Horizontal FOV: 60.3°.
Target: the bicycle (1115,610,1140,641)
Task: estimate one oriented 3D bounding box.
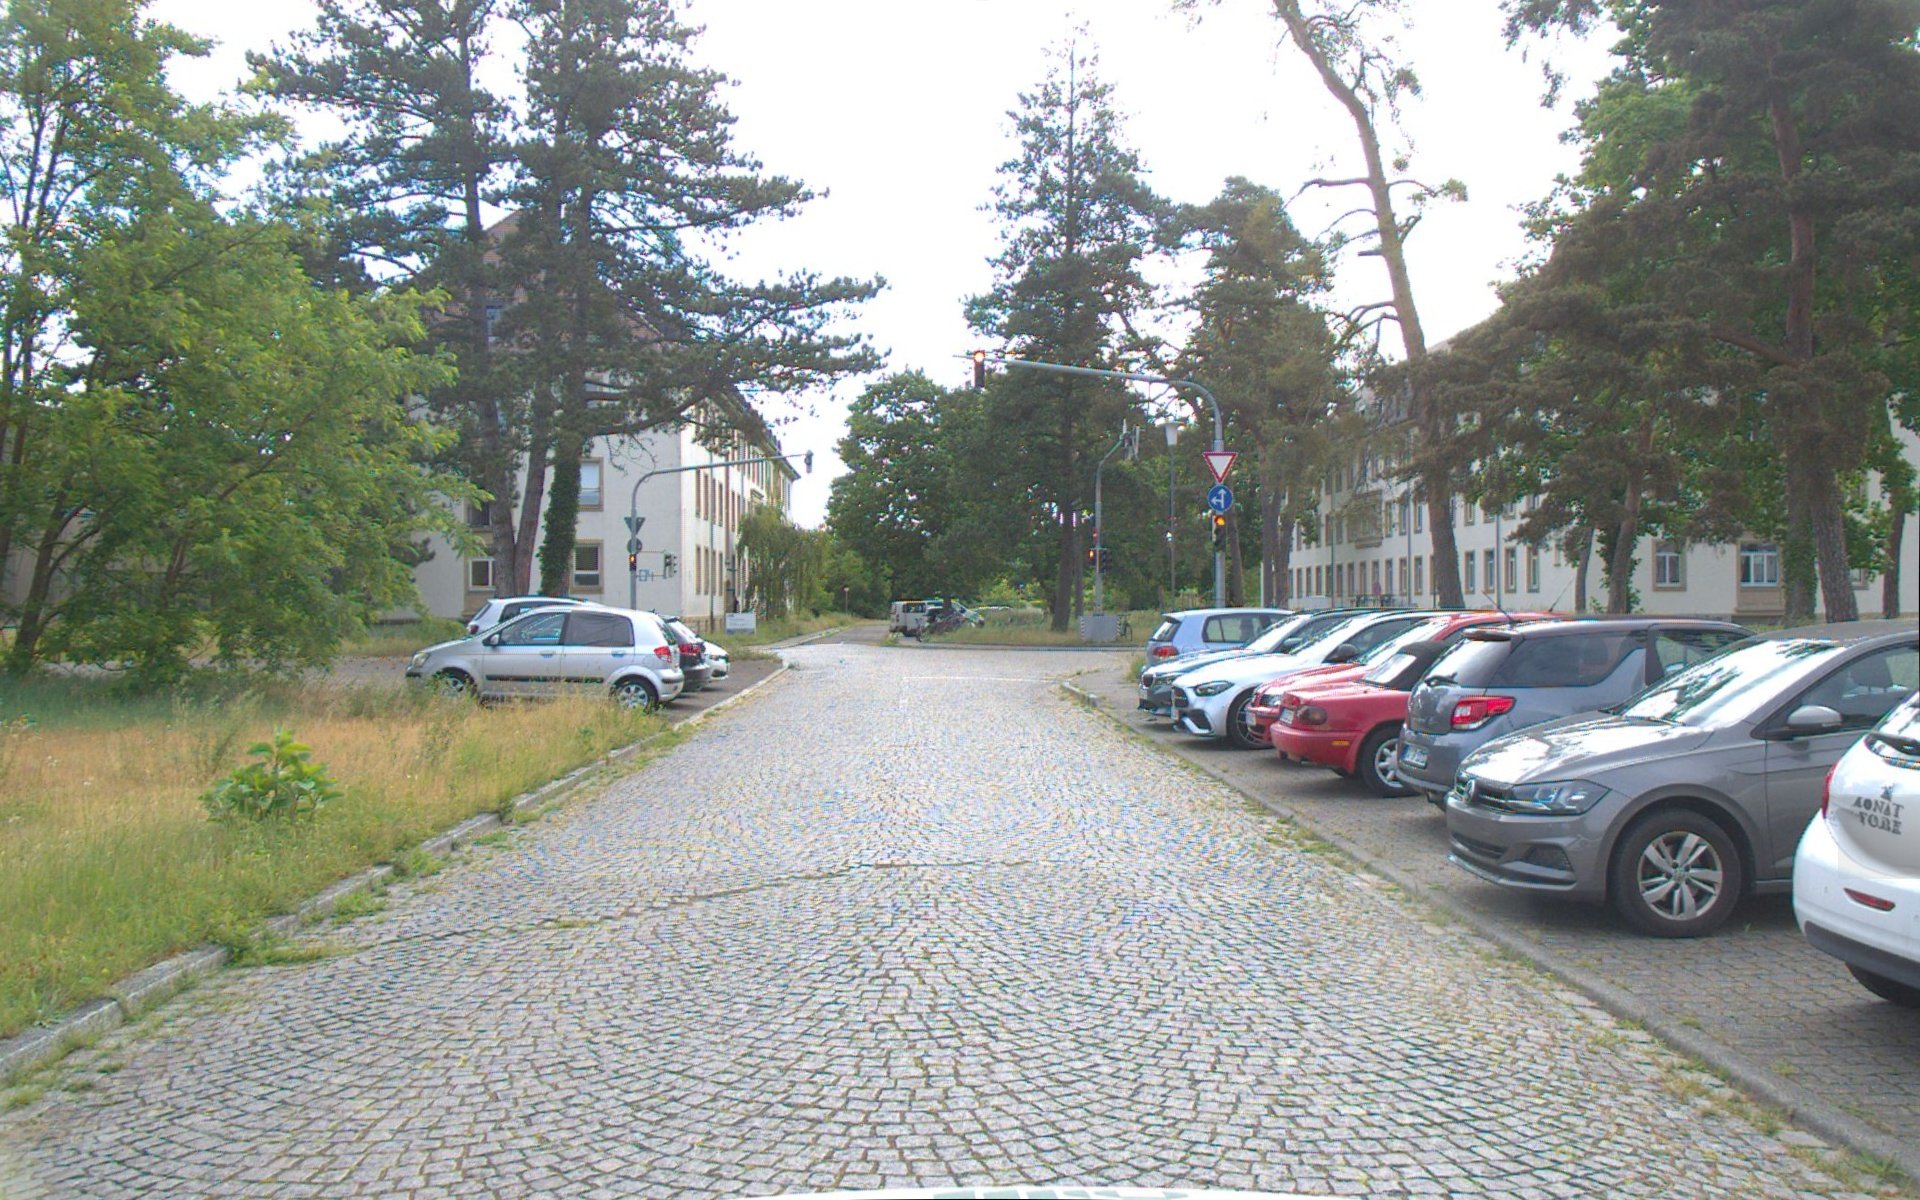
[{"bbox_3d":[6.188,0.934,61.182,0.649,1.069,1.887,1,0,-1],"label":"bicycle"}]

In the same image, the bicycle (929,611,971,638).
[{"bbox_3d":[-0.446,1.136,76.213,1.846,1.191,0.664,1,-1,-8],"label":"bicycle"}]

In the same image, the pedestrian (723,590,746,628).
[{"bbox_3d":[-12.016,0.491,88.311,1.052,1.993,1.121,1,-1,-2],"label":"pedestrian"}]

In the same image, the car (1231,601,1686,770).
[{"bbox_3d":[4.903,0.811,16.594,4.024,1.502,1.683,-1,0,-4],"label":"car"}]

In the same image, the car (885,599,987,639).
[{"bbox_3d":[-1.326,1.013,90.991,5.285,2.138,2.170,0,0,-14],"label":"car"}]

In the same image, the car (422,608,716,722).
[{"bbox_3d":[-5.941,0.960,25.550,4.217,1.581,1.809,-1,0,-8],"label":"car"}]

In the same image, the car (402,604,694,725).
[{"bbox_3d":[-5.637,0.874,22.965,3.648,1.507,1.671,2,0,-5],"label":"car"}]

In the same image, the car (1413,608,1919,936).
[{"bbox_3d":[4.674,0.803,8.748,4.047,1.472,1.765,-1,0,-2],"label":"car"}]

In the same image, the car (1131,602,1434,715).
[{"bbox_3d":[4.679,0.827,24.270,4.057,1.489,1.631,-1,0,-7],"label":"car"}]

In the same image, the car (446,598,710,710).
[{"bbox_3d":[-6.453,0.895,28.338,4.216,1.762,1.650,-1,0,-7],"label":"car"}]

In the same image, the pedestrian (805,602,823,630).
[{"bbox_3d":[-10.631,1.185,120.147,1.216,1.993,1.119,1,-1,-7],"label":"pedestrian"}]

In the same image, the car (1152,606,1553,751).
[{"bbox_3d":[4.428,0.843,18.939,4.108,1.462,1.751,-1,0,-9],"label":"car"}]

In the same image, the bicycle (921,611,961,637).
[{"bbox_3d":[-0.908,1.150,78.742,1.846,1.191,0.664,1,-1,-8],"label":"bicycle"}]

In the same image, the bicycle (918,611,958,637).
[{"bbox_3d":[-1.050,1.155,79.689,1.846,1.191,0.664,1,-1,-8],"label":"bicycle"}]

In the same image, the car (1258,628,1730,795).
[{"bbox_3d":[4.484,0.917,14.235,3.513,1.244,1.628,-1,0,-1],"label":"car"}]

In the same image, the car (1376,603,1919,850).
[{"bbox_3d":[4.883,0.819,11.623,3.435,1.513,1.742,-1,0,-2],"label":"car"}]

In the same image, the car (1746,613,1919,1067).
[{"bbox_3d":[4.996,0.779,5.854,3.580,1.504,1.765,-1,0,-2],"label":"car"}]

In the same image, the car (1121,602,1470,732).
[{"bbox_3d":[4.361,0.830,21.704,4.155,1.505,1.704,-1,0,-13],"label":"car"}]

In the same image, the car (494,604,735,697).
[{"bbox_3d":[-6.344,0.908,30.797,4.217,1.581,1.809,-1,0,-8],"label":"car"}]

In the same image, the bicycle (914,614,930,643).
[{"bbox_3d":[-1.638,1.221,71.534,0.649,1.191,1.887,1,-1,-1],"label":"bicycle"}]
